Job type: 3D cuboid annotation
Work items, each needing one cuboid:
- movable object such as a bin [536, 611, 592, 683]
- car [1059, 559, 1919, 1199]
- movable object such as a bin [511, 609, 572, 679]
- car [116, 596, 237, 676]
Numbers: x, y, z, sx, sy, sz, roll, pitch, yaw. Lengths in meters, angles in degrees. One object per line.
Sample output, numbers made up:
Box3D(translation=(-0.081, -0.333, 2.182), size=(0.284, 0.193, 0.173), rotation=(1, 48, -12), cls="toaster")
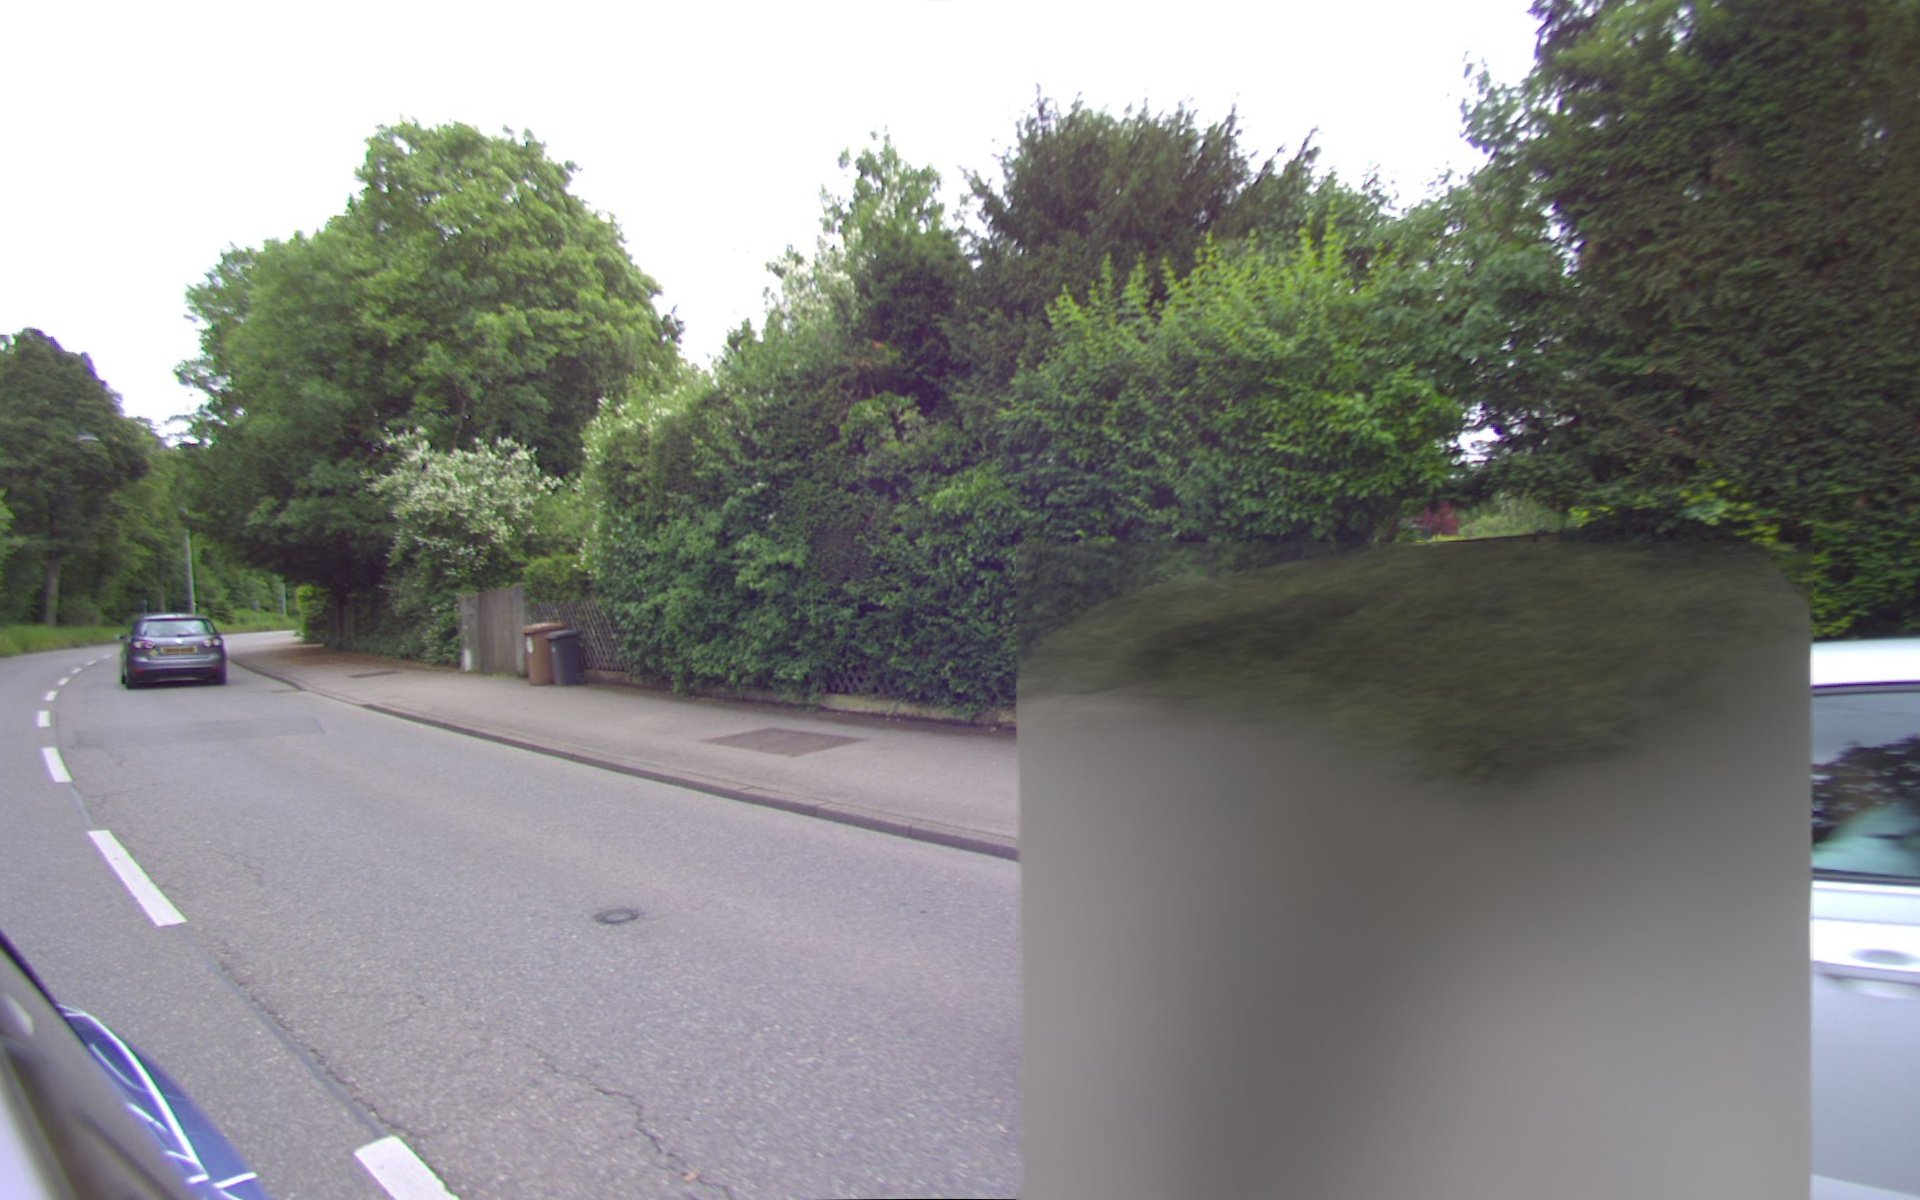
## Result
Box3D(translation=(-6.704, 0.777, 17.141), size=(0.622, 1.153, 0.647), rotation=(-4, 2, -44), cls="movable object such as a bin")
Box3D(translation=(2.341, 0.686, 2.481), size=(3.792, 1.465, 1.883), rotation=(-1, -2, 39), cls="car")
Box3D(translation=(-7.313, 0.761, 17.688), size=(0.732, 1.150, 0.647), rotation=(-4, 2, -44), cls="movable object such as a bin")
Box3D(translation=(-17.615, 0.770, 22.736), size=(1.968, 1.630, 4.007), rotation=(2, -2, -39), cls="car")
